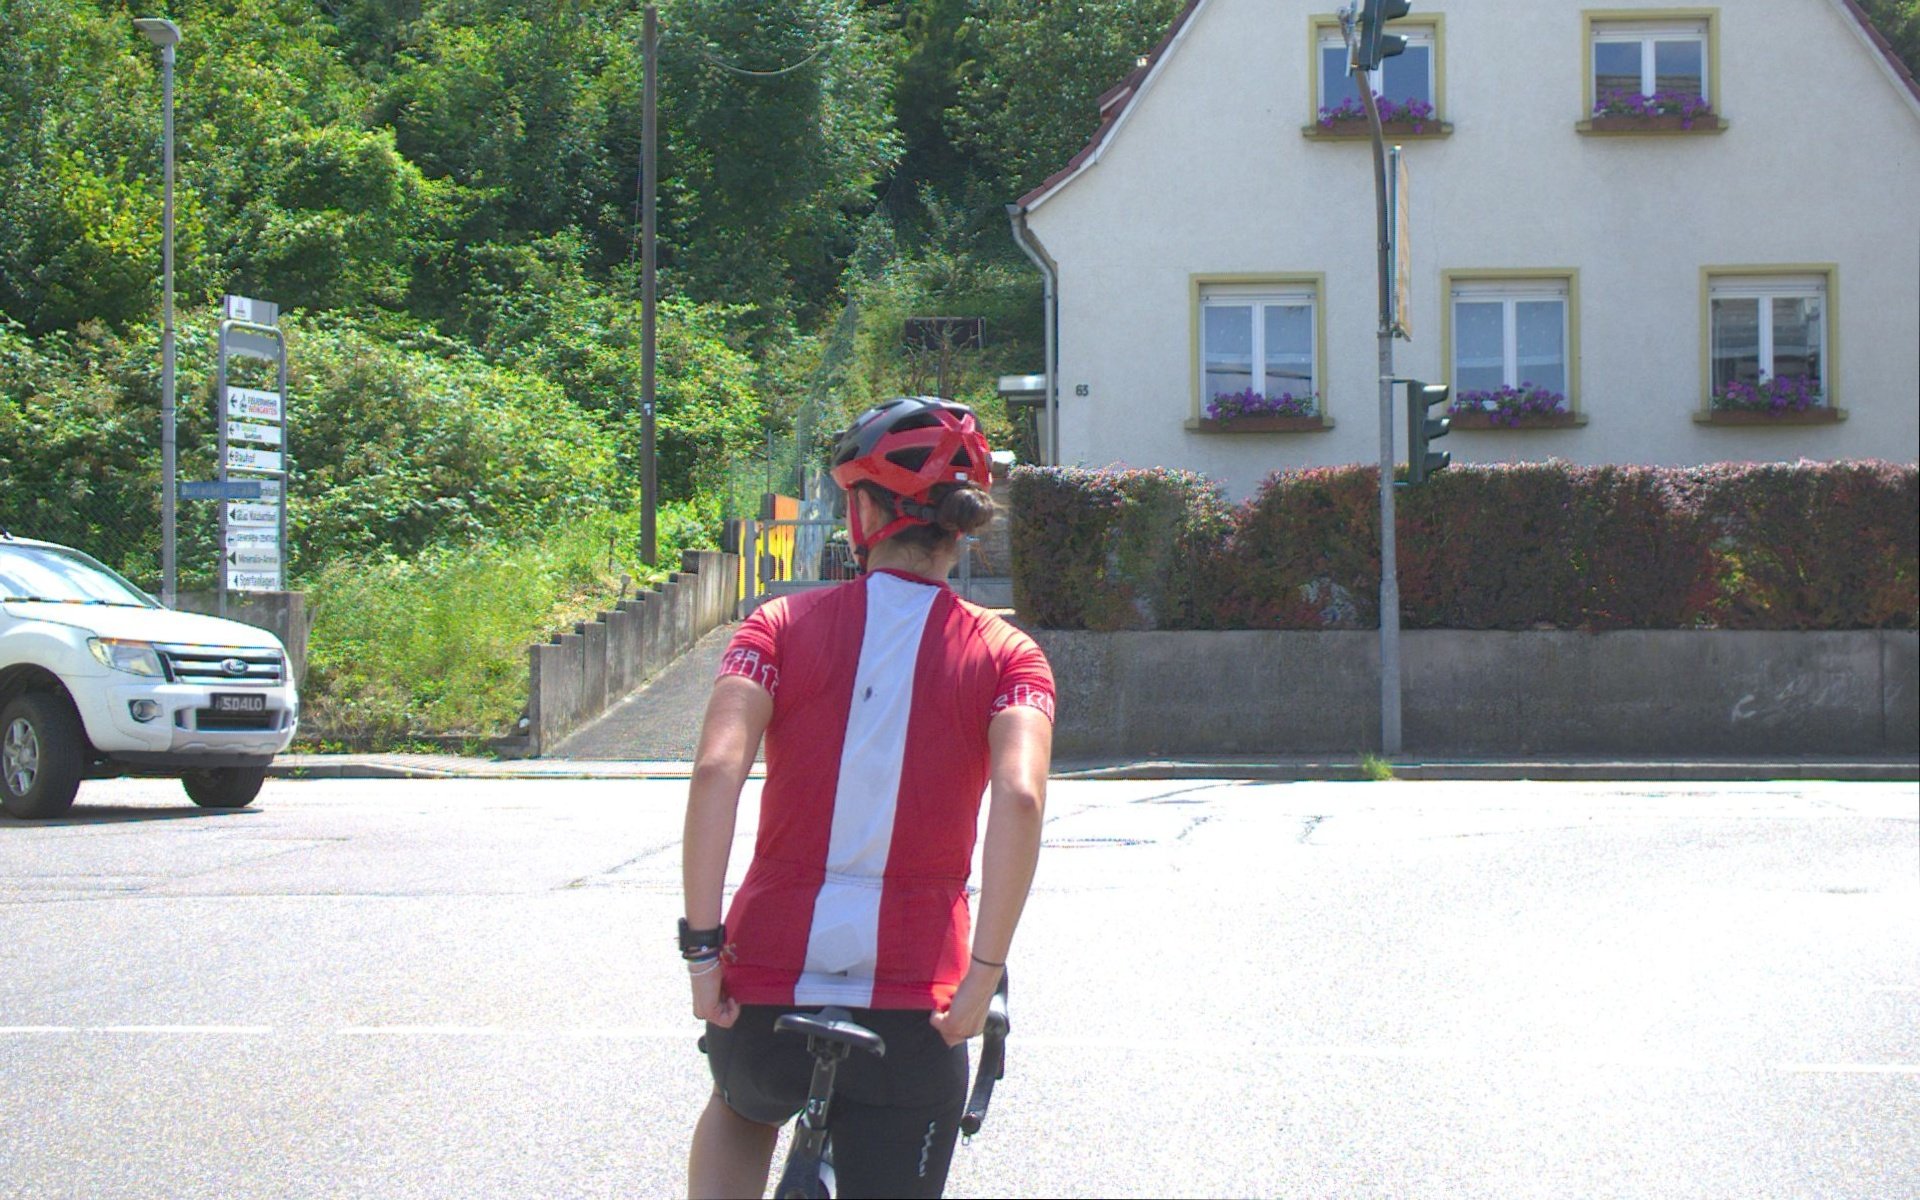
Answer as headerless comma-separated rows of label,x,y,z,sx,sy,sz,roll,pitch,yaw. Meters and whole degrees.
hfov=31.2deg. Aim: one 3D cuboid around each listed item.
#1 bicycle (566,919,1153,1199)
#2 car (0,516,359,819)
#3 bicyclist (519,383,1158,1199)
bicycle,-0.192,0.961,4.524,0.629,0.902,1.657,1,1,-5
car,-6.626,0.411,22.297,5.305,1.769,1.975,-1,1,30
bicyclist,-0.193,0.568,4.625,0.760,1.659,0.869,1,1,-5
